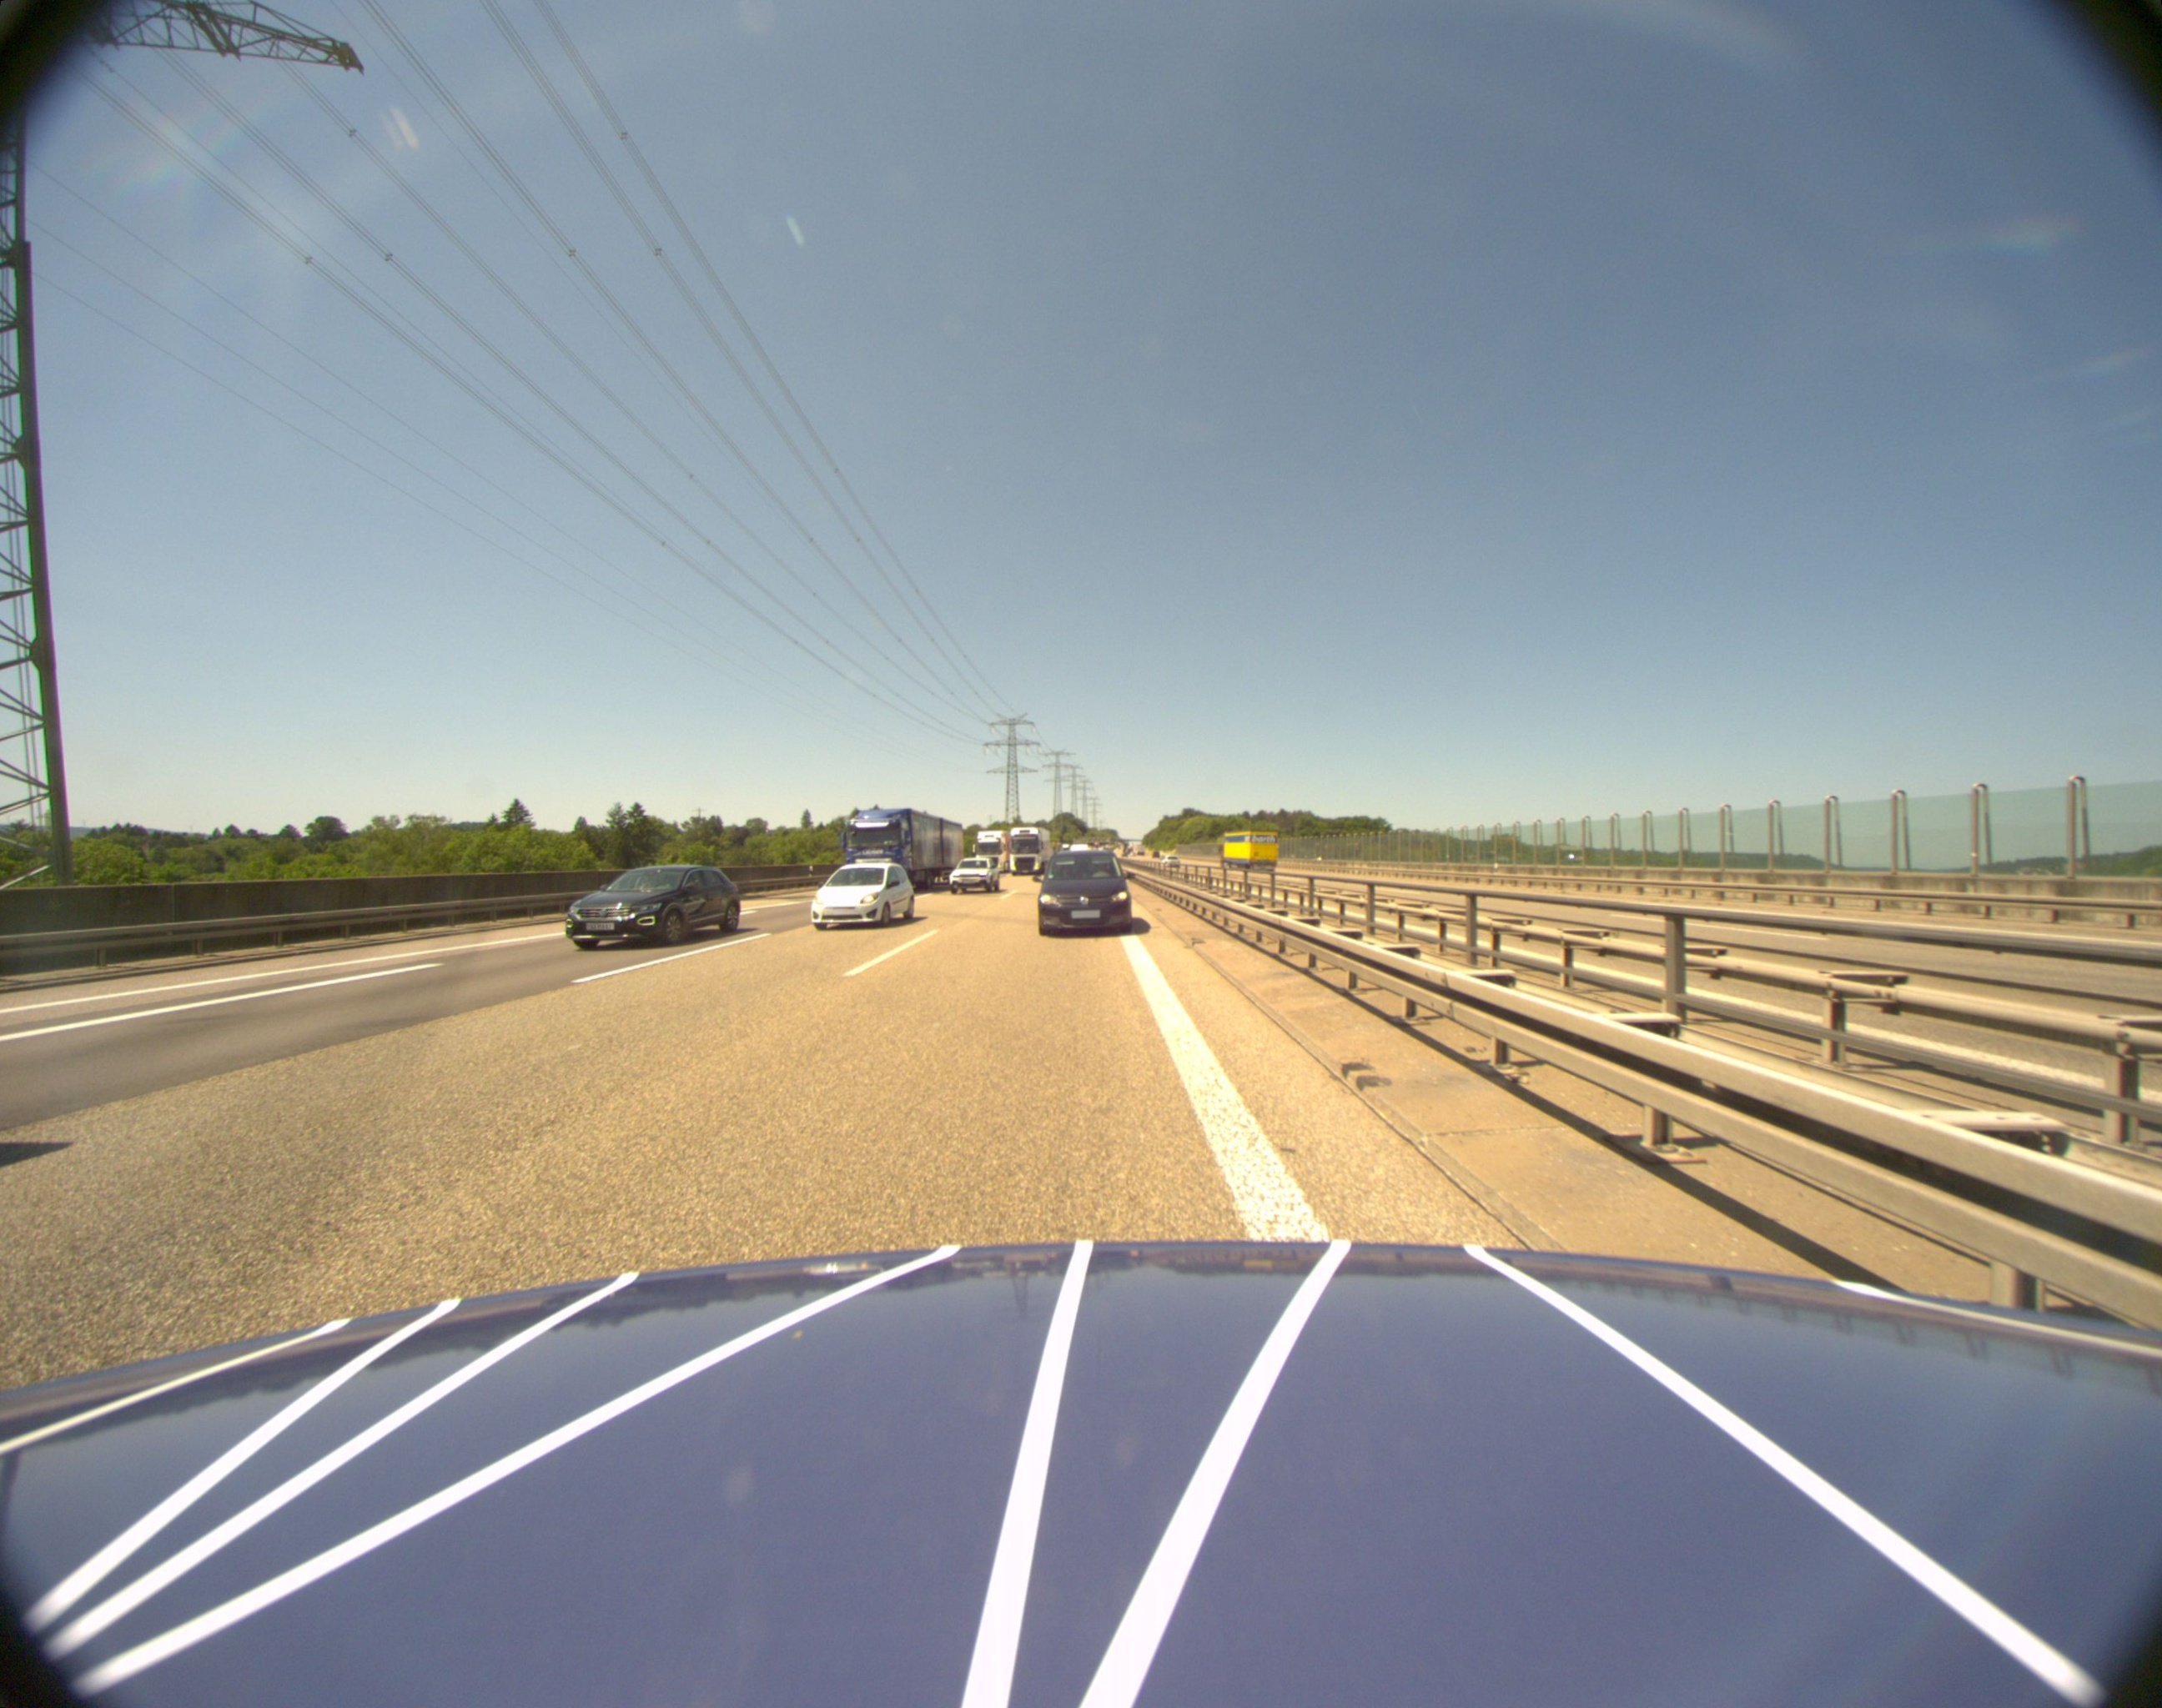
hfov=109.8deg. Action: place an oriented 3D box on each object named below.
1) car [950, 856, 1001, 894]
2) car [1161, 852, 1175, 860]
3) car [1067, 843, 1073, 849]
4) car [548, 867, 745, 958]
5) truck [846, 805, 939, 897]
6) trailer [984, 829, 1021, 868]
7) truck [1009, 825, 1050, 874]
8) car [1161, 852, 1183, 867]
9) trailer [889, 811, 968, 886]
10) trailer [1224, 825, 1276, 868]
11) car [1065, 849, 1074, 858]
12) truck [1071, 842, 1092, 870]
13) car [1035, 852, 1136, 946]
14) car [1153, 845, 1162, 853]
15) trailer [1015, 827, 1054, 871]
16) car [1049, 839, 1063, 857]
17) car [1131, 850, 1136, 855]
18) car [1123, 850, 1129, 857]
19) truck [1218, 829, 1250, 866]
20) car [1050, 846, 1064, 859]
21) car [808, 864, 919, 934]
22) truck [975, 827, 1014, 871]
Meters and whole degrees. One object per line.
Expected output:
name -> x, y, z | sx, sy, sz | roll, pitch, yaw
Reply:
car -> -4.643, 0.902, 34.000 | 1.722, 1.526, 3.753 | -2, 0, 0
car -> 14.048, 0.310, 122.415 | 1.767, 1.374, 4.078 | 1, 0, 0
car -> -3.486, -2.489, 236.551 | 1.701, 1.599, 3.639 | -2, 1, 1
car -> -8.586, 1.072, 15.472 | 1.709, 1.497, 3.888 | -2, 0, 0
truck -> -8.929, -0.192, 37.052 | 2.517, 3.945, 7.925 | -2, 1, -1
trailer -> -8.233, -0.592, 80.804 | 2.904, 3.779, 8.687 | -2, 1, 0
truck -> -4.332, -0.430, 64.815 | 2.914, 3.869, 6.739 | -2, 1, 0
car -> 9.356, 0.569, 78.541 | 1.762, 1.440, 4.286 | 1, 1, 0
trailer -> -9.018, -0.368, 46.465 | 2.543, 3.971, 10.883 | -2, 1, 0
trailer -> 16.980, -0.727, 77.496 | 2.429, 4.040, 13.801 | 0, 0, 1
car -> -2.431, -0.132, 155.696 | 1.701, 1.599, 3.639 | -2, 1, 1
truck -> 0.090, 0.173, 80.152 | 2.100, 2.700, 5.864 | -2, 1, 1
car -> 0.066, 0.785, 15.373 | 1.739, 1.607, 3.911 | -2, 0, 0
car -> 20.940, -1.363, 208.002 | 2.021, 2.002, 3.968 | -2, 1, 1
trailer -> -4.301, -0.550, 73.082 | 2.898, 3.847, 9.773 | -2, 1, 1
car -> -4.588, -1.152, 141.356 | 2.273, 3.303, 6.288 | -2, 1, 0
car -> 17.248, -0.520, 249.855 | 1.473, 1.492, 3.200 | 0, 1, 1
car -> 12.870, -0.047, 217.661 | 1.584, 2.002, 3.546 | 0, 0, 1
truck -> 17.080, -0.748, 85.103 | 2.420, 4.035, 5.542 | 0, 1, 1
car -> -3.832, -0.205, 122.616 | 1.998, 2.002, 3.999 | -2, 1, 1
car -> -5.135, 1.009, 18.407 | 1.584, 1.432, 3.629 | -2, 0, 0
truck -> -8.225, -0.516, 73.067 | 2.914, 3.869, 6.739 | -2, 1, 0
